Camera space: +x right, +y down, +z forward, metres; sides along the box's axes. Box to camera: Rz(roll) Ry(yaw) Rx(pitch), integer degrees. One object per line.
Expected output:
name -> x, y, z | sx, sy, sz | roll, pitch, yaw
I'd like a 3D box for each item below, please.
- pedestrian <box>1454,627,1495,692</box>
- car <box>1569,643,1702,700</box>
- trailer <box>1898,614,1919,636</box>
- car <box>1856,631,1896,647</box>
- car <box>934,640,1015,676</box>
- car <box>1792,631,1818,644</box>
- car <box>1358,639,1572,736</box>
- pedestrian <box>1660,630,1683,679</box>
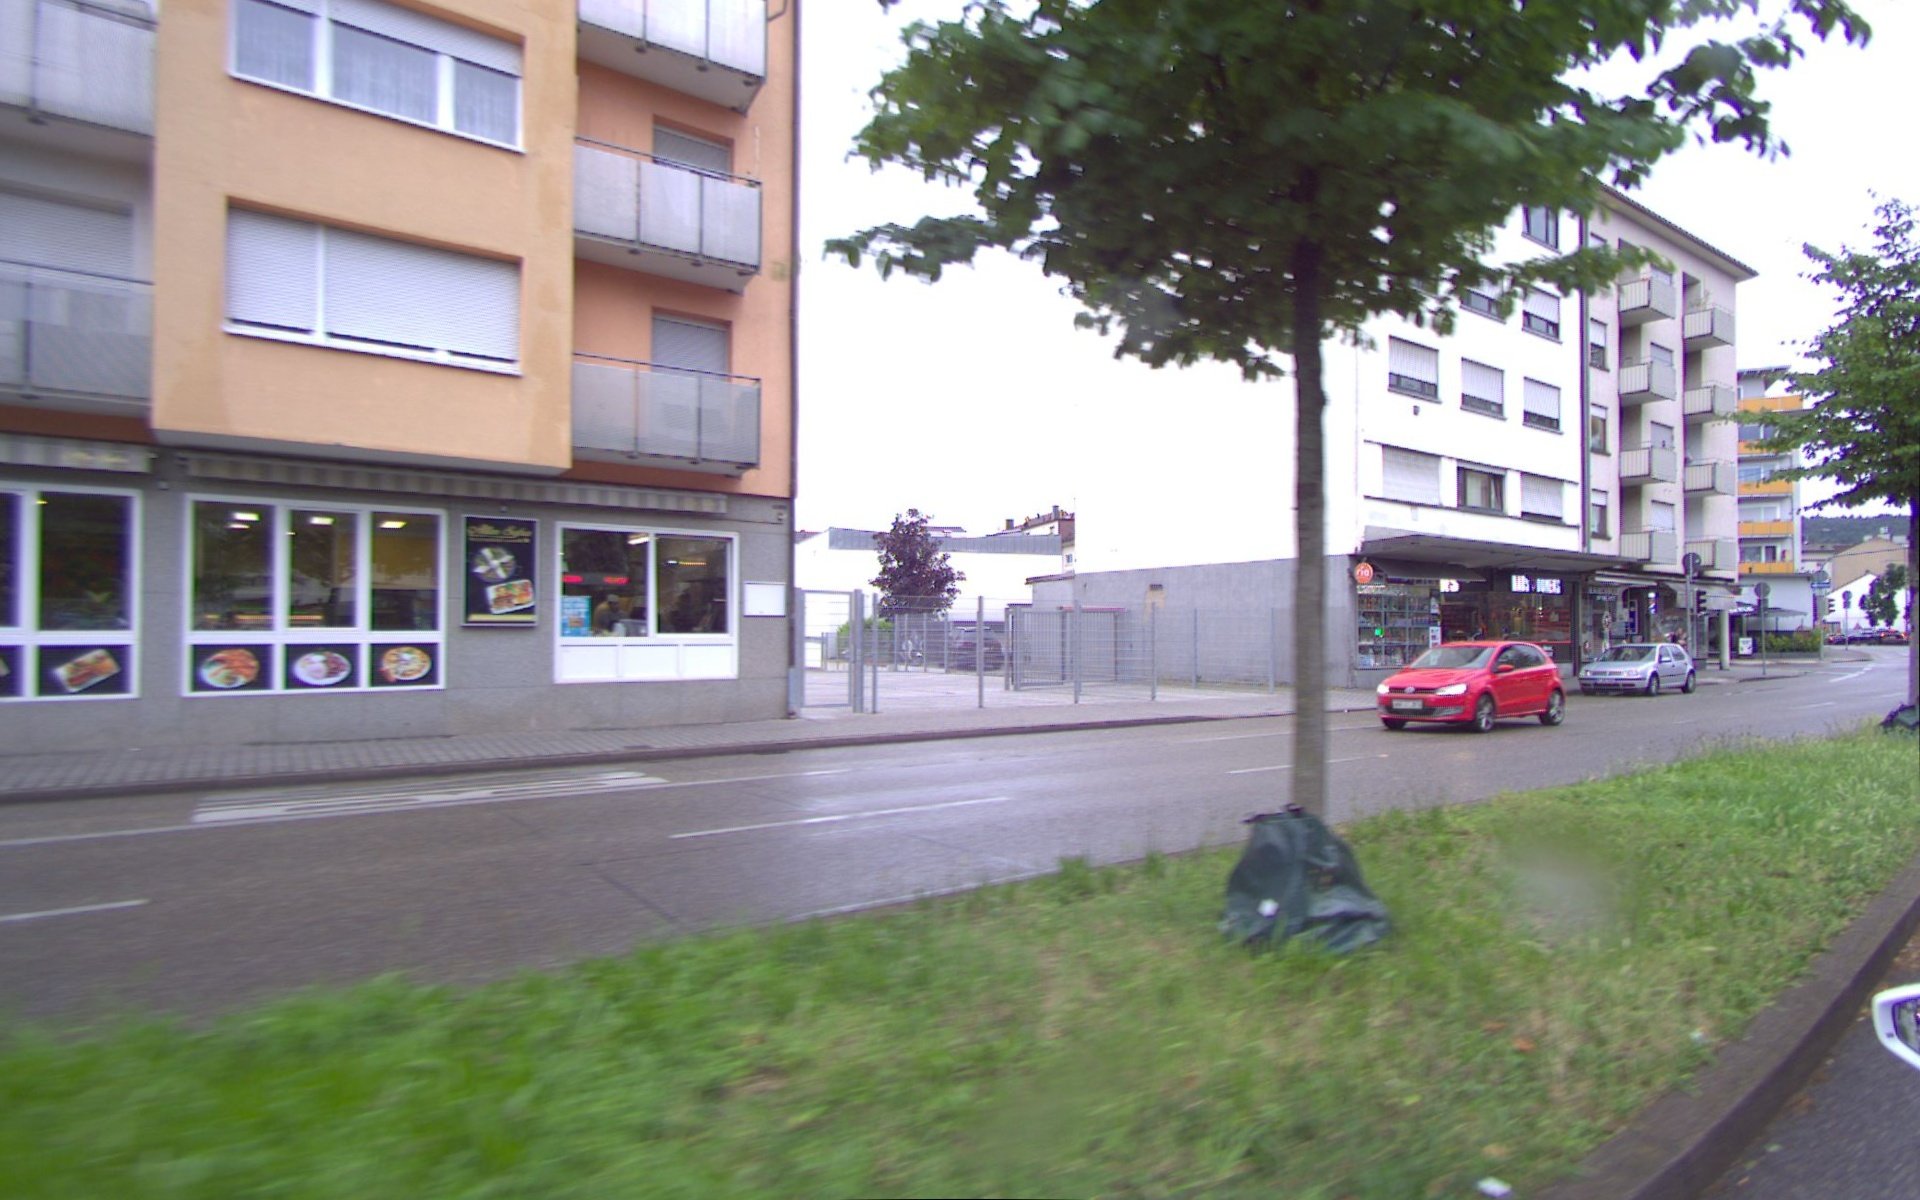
pedestrian -> 14.560, 1.672, 28.424 | 0.653, 1.753, 0.773 | 0, 2, -32
car -> 18.763, 1.952, 27.859 | 4.111, 1.410, 1.666 | 1, -4, -35
trailer -> 123.792, 3.211, 130.206 | 2.097, 2.751, 5.378 | -4, -3, 32
car -> 85.172, 3.599, 93.443 | 1.639, 1.415, 3.863 | -1, -1, 25
car -> 0.519, 2.233, 39.281 | 1.685, 1.283, 3.746 | 1, -2, -25
car -> 99.298, 4.363, 118.024 | 1.640, 1.415, 3.860 | -1, -1, 29
car -> 8.531, 1.423, 16.872 | 3.908, 1.449, 1.593 | 2, -5, -36
pedestrian -> 25.658, 1.959, 36.215 | 0.518, 1.754, 0.450 | 0, 2, -31
